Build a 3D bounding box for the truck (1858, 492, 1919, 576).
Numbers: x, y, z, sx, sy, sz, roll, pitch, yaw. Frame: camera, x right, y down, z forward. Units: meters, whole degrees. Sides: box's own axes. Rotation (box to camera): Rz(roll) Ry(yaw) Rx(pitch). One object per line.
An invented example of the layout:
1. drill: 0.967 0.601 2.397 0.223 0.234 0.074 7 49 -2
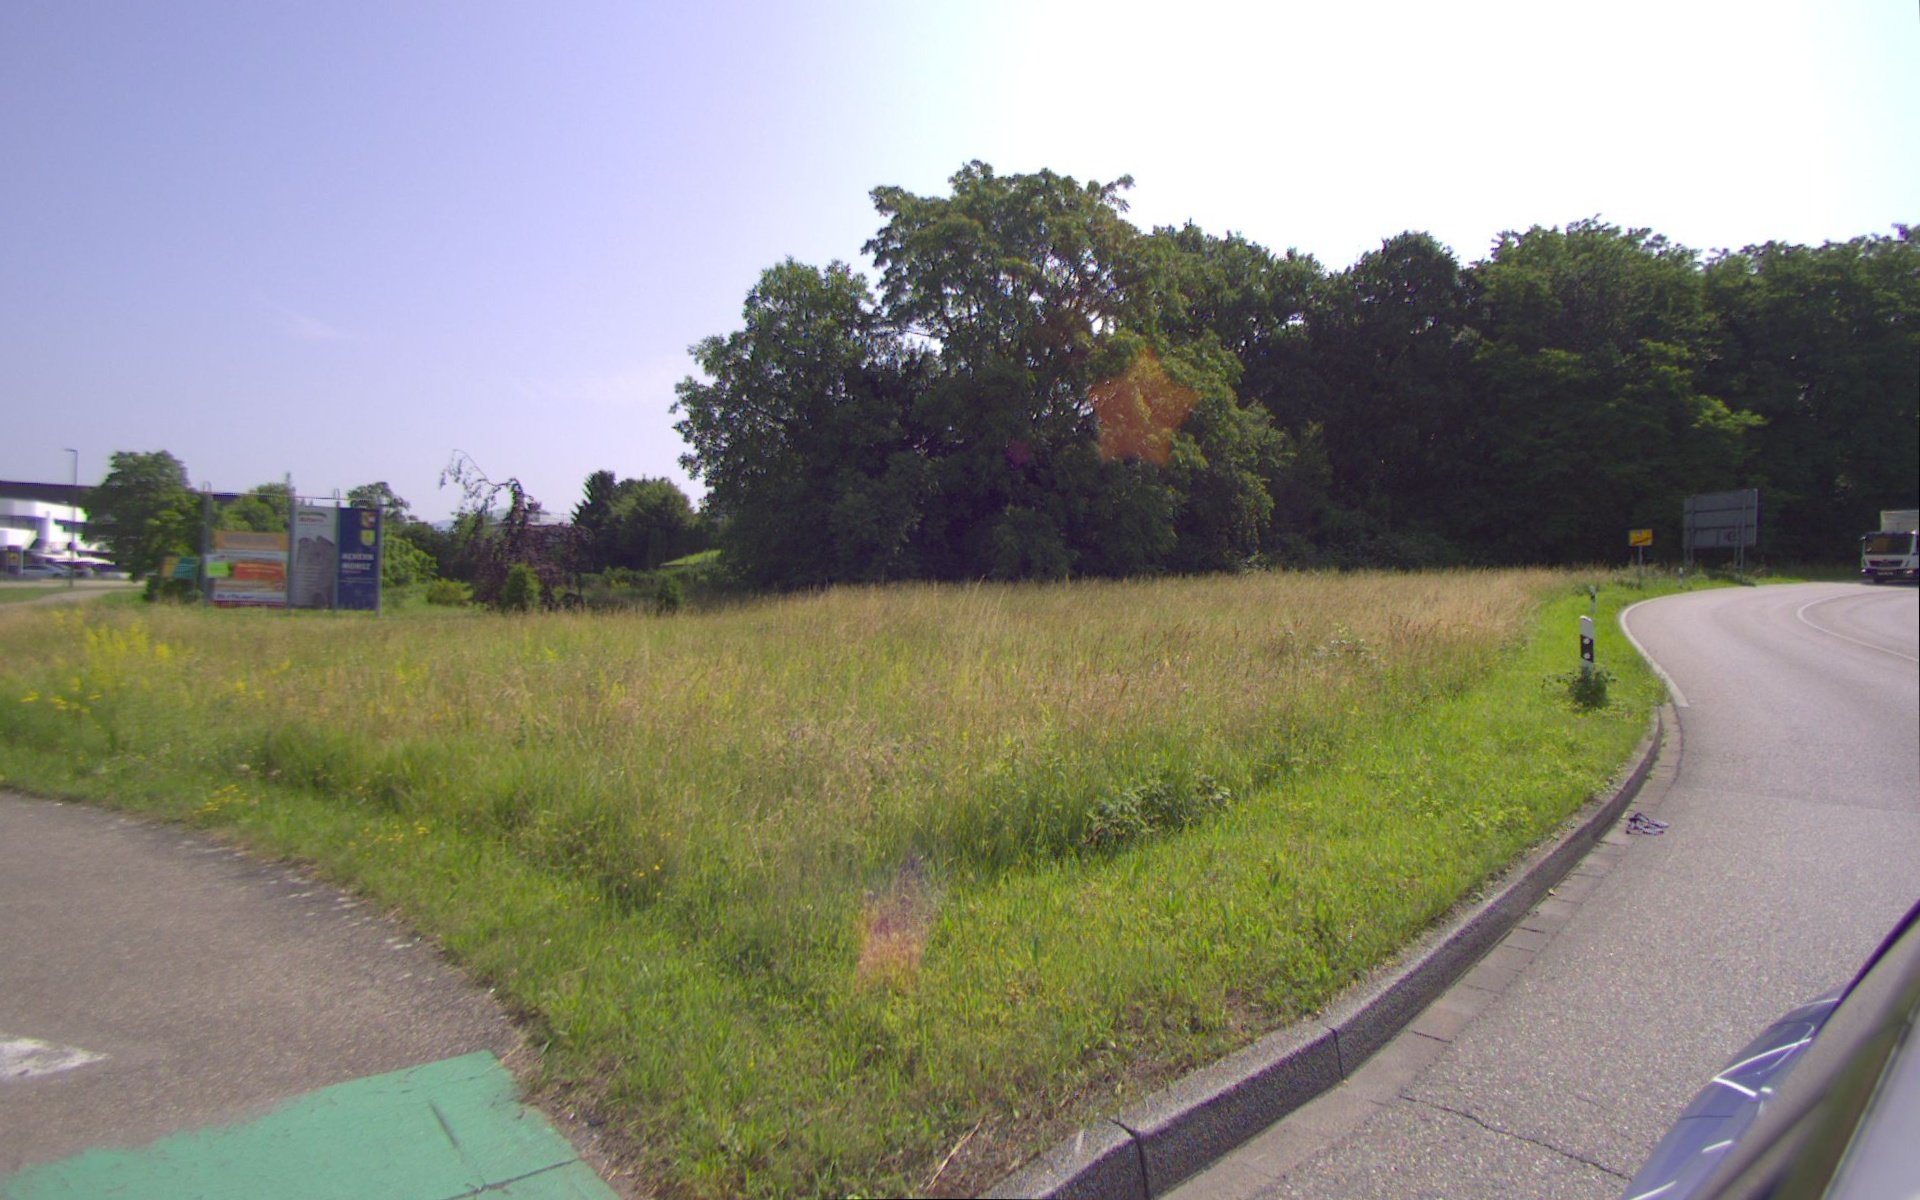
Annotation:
1. truck: 48.628 -3.129 49.366 8.833 3.877 2.906 0 0 -16
